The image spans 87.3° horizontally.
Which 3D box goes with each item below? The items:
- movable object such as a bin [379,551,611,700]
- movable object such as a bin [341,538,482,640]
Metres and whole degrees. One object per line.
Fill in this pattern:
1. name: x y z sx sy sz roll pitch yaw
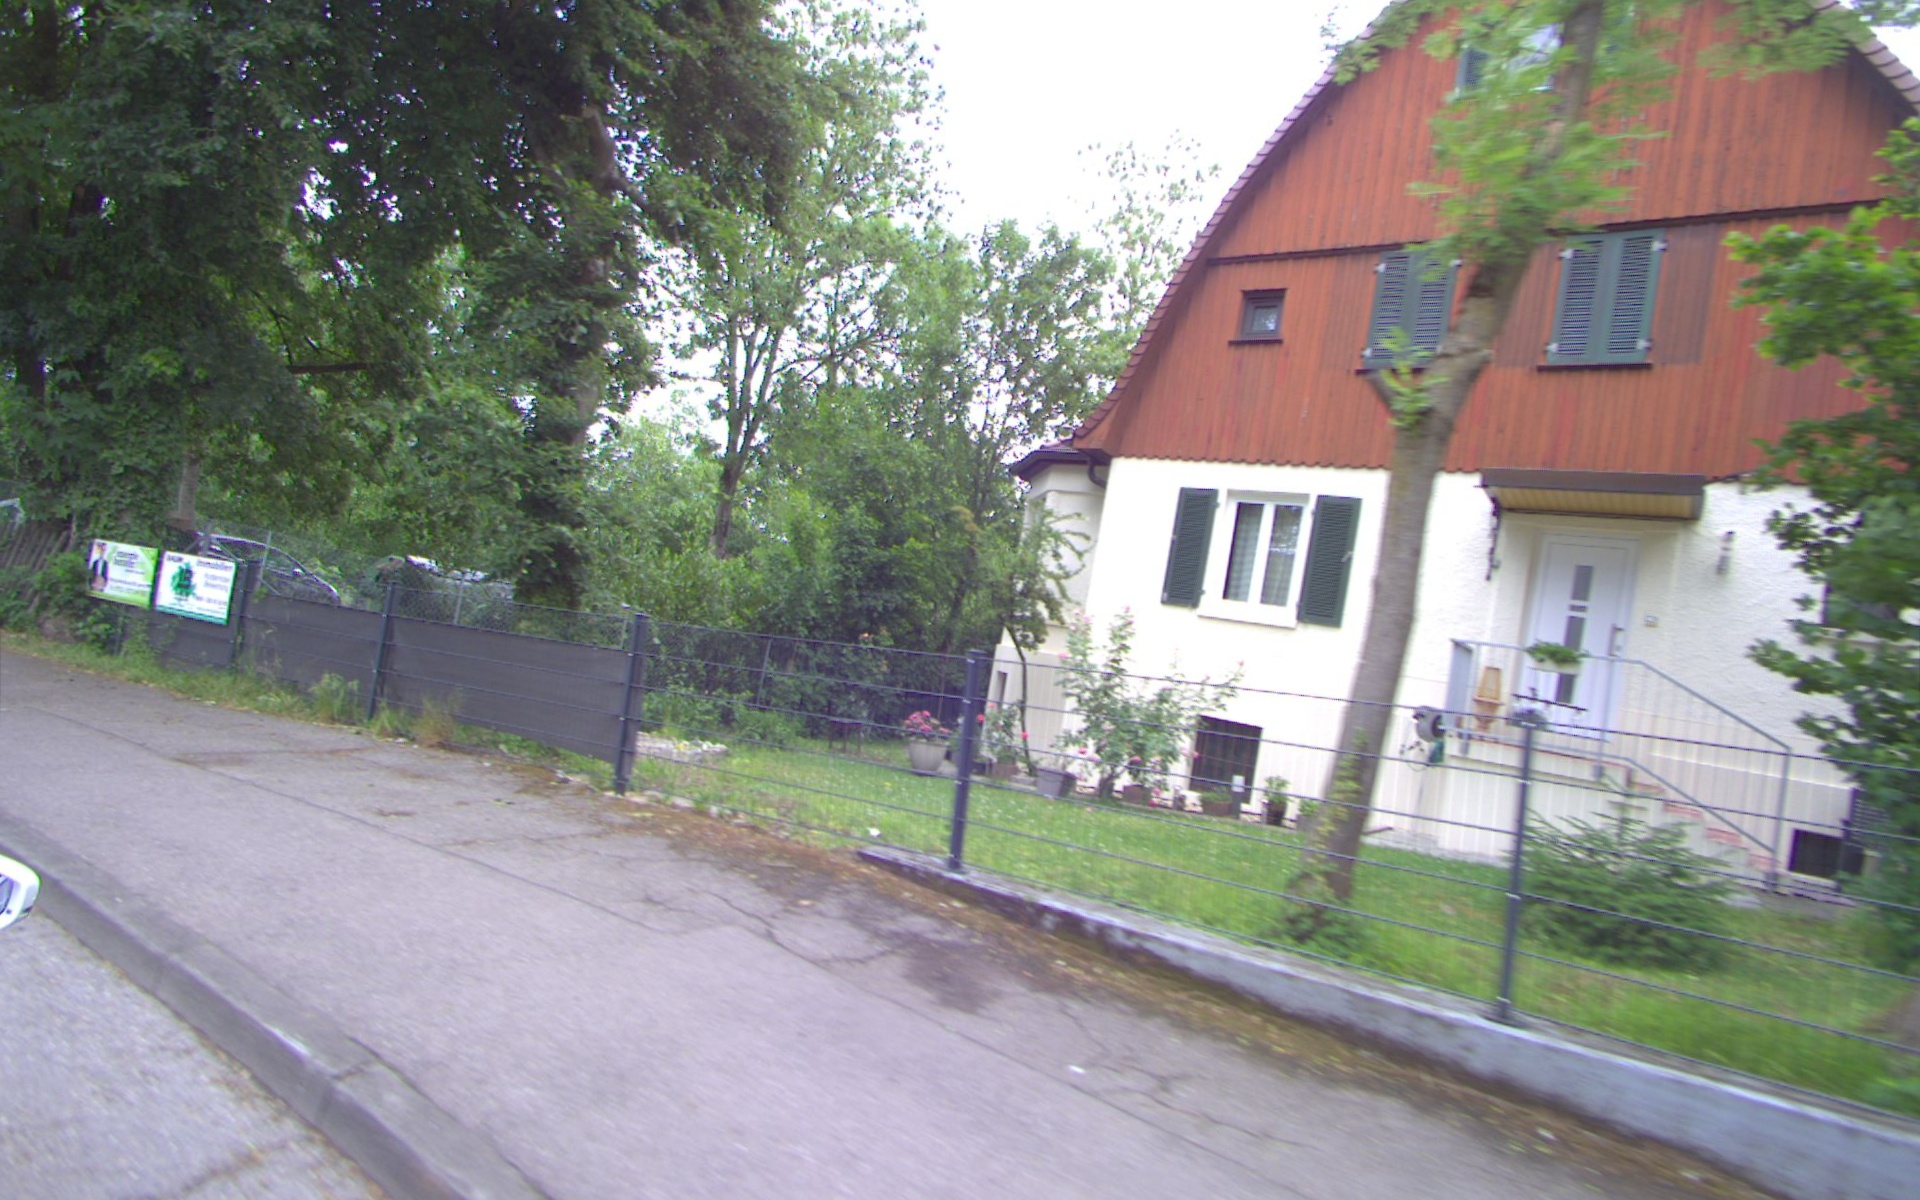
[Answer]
1. movable object such as a bin: -6.979 0.414 15.216 2.170 1.807 2.109 8 -2 28
2. movable object such as a bin: -10.209 -0.195 18.755 1.645 1.565 1.427 8 -1 25
